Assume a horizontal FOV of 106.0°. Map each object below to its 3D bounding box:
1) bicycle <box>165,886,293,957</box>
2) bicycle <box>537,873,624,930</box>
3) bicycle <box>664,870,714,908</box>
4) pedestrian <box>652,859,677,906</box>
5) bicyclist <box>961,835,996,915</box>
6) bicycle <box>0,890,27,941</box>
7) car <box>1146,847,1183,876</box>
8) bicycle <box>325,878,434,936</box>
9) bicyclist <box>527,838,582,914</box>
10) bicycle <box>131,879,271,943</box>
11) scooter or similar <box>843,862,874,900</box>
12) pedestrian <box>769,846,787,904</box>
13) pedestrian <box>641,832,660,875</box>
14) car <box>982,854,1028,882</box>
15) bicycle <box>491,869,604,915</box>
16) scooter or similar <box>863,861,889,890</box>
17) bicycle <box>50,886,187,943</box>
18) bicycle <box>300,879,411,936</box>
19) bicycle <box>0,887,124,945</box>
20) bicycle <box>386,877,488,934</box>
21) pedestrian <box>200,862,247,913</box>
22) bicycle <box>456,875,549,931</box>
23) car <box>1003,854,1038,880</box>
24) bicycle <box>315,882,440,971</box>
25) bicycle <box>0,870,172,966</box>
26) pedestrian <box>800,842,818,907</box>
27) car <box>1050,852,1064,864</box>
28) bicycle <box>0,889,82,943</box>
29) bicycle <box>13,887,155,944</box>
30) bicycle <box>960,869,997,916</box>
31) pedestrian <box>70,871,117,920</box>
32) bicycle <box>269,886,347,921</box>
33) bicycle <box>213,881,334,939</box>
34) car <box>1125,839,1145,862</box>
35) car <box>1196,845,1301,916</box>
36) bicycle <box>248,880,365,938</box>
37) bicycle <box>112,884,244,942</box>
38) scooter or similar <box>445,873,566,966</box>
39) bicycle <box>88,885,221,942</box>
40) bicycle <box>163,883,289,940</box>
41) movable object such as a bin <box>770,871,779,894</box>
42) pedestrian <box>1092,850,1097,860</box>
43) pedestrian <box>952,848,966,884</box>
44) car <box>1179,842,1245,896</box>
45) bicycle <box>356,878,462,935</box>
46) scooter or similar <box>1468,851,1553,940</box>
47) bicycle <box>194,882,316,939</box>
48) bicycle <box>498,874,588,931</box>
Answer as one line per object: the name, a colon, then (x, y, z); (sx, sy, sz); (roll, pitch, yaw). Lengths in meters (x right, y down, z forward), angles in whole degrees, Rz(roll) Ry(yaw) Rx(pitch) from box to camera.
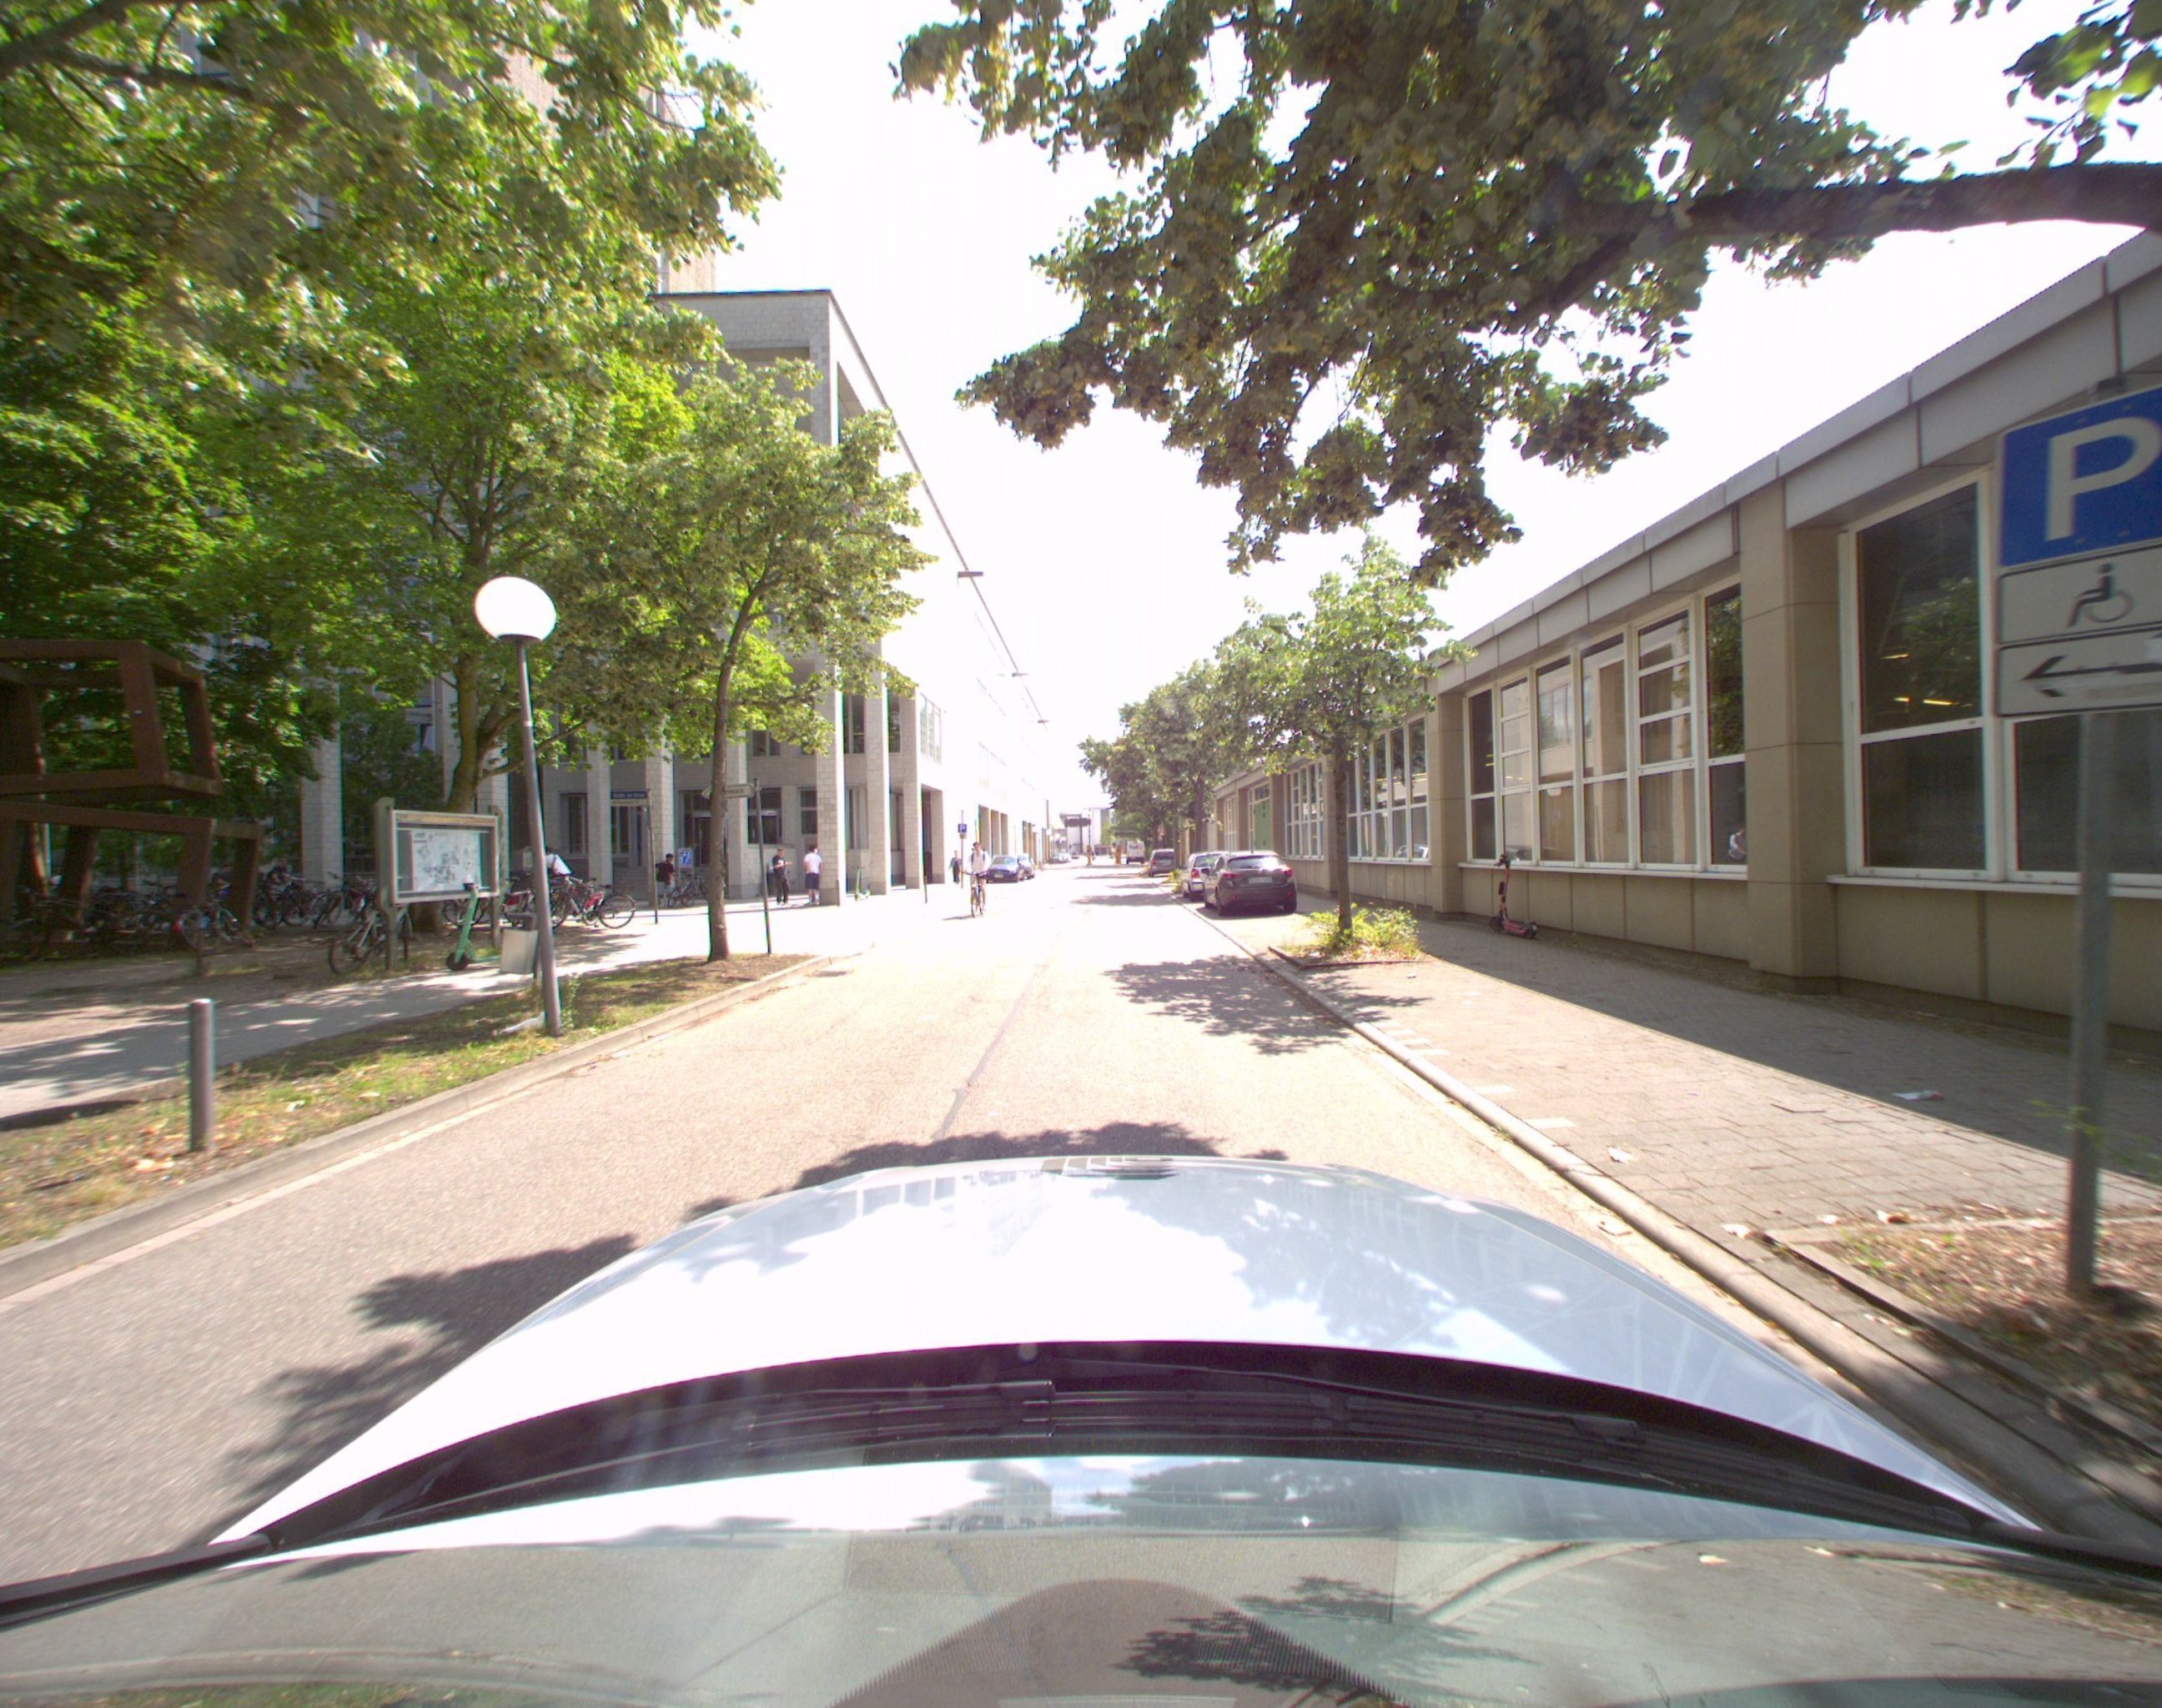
bicycle: (-13.340, 1.030, 12.818); (0.475, 0.965, 1.651); (-1, 0, -9)
bicycle: (-10.520, 0.964, 17.210); (0.550, 1.086, 1.974); (0, 0, 2)
bicycle: (-12.025, 1.046, 25.027); (0.462, 1.014, 1.868); (0, 2, 6)
pedestrian: (-12.677, 0.858, 24.792); (0.465, 1.383, 0.443); (-2, 3, -8)
bicyclist: (-2.674, 0.545, 21.352); (0.709, 2.013, 1.018); (-3, 0, -1)
bicycle: (-23.981, 1.356, 17.305); (0.550, 1.086, 1.974); (0, 0, 2)
car: (4.865, 0.433, 47.969); (1.851, 1.574, 4.002); (-3, 0, 2)
bicycle: (-14.887, 1.095, 17.364); (0.550, 1.086, 1.974); (0, 0, 2)
bicyclist: (-14.253, 0.586, 22.069); (0.841, 2.013, 0.879); (-1, 0, 13)
bicycle: (-15.967, 1.001, 14.849); (0.473, 1.032, 1.851); (-1, 0, 3)
scooter or similar: (-7.486, 0.890, 27.437); (0.452, 1.223, 1.551); (-1, 0, 6)
pedestrian: (-9.459, 0.643, 25.441); (0.443, 1.775, 0.447); (-1, 0, -29)
pedestrian: (-17.134, -0.021, 32.395); (0.637, 1.661, 0.688); (-1, 0, -28)
car: (-4.024, 0.720, 43.681); (1.759, 1.427, 4.238); (-1, 0, 3)
bicycle: (-14.476, 1.021, 22.119); (2.721, 1.199, 0.888); (-1, 0, 13)
scooter or similar: (-8.810, 0.912, 34.945); (0.529, 1.210, 1.541); (-1, 0, -36)
bicycle: (-20.603, 1.265, 17.501); (0.550, 1.086, 1.974); (0, 0, 2)
bicycle: (-15.533, 1.118, 17.504); (0.550, 1.086, 1.974); (0, 0, 2)
bicycle: (-22.083, 1.309, 17.546); (0.550, 1.086, 1.974); (0, 0, 2)
bicycle: (-13.715, 1.063, 17.431); (0.550, 1.086, 1.974); (0, 0, 2)
pedestrian: (-27.329, 1.062, 25.962); (0.824, 1.593, 0.598); (-1, 0, 3)
bicycle: (-12.558, 1.039, 17.745); (0.550, 1.086, 1.974); (0, 0, 2)
car: (-3.623, 0.743, 49.190); (1.624, 1.485, 4.180); (-1, 0, 2)
bicycle: (-9.344, 0.915, 10.903); (0.381, 1.025, 1.809); (-1, 0, -10)
bicycle: (-14.680, 0.905, 11.706); (2.027, 1.254, 0.582); (-2, 0, -31)
pedestrian: (-8.282, 0.602, 24.765); (0.415, 1.942, 0.657); (0, 0, -27)
car: (-3.171, 0.523, 109.221); (1.640, 1.498, 3.729); (-2, -2, 2)
bicycle: (-23.384, 1.355, 17.818); (0.550, 1.086, 1.974); (0, 0, 2)
bicycle: (-21.327, 1.285, 17.490); (0.550, 1.086, 1.974); (0, 0, 2)
bicycle: (-2.670, 0.988, 21.357); (0.683, 1.130, 1.888); (-2, 0, 0)
pedestrian: (-33.728, 1.404, 27.824); (0.597, 1.604, 0.787); (-1, 0, 4)
bicycle: (-24.442, 1.548, 25.807); (0.523, 0.946, 1.994); (-1, 0, 1)
bicycle: (-17.080, 1.157, 17.303); (0.550, 1.086, 1.974); (0, 0, 2)
car: (6.137, -0.387, 92.782); (2.076, 2.539, 4.317); (0, 0, 2)
car: (4.001, 0.574, 20.194); (1.774, 1.476, 4.464); (-3, 0, 2)
bicycle: (-16.381, 1.136, 17.300); (0.550, 1.086, 1.974); (0, 0, 2)
bicycle: (-19.194, 1.220, 17.385); (0.550, 1.086, 1.974); (0, 0, 2)
scooter or similar: (-8.007, 0.878, 11.369); (0.335, 1.175, 1.337); (-1, 0, 37)
bicycle: (-19.967, 1.250, 17.622); (0.550, 1.086, 1.974); (0, 0, 2)
bicycle: (-18.260, 1.196, 17.459); (0.550, 1.086, 1.974); (0, 0, 2)
movable object such as a bin: (-12.229, 1.151, 32.510); (0.168, 0.895, 0.448); (-1, 0, -3)
pedestrian: (2.179, 0.186, 135.025); (0.774, 1.678, 0.505); (0, 0, 2)
pedestrian: (-5.826, 0.554, 38.856); (0.649, 1.701, 0.887); (-1, 0, -9)
car: (4.061, 0.439, 25.681); (1.610, 1.538, 3.782); (-1, 0, 2)
bicycle: (-14.281, 1.078, 17.378); (0.550, 1.086, 1.974); (0, 0, 2)
scooter or similar: (6.520, 0.593, 12.431); (0.509, 1.249, 1.486); (-3, 0, 2)
bicycle: (-17.650, 1.178, 17.471); (0.550, 1.086, 1.974); (0, 0, 2)
bicycle: (-11.461, 0.998, 17.424); (0.550, 1.086, 1.974); (0, 0, 2)
